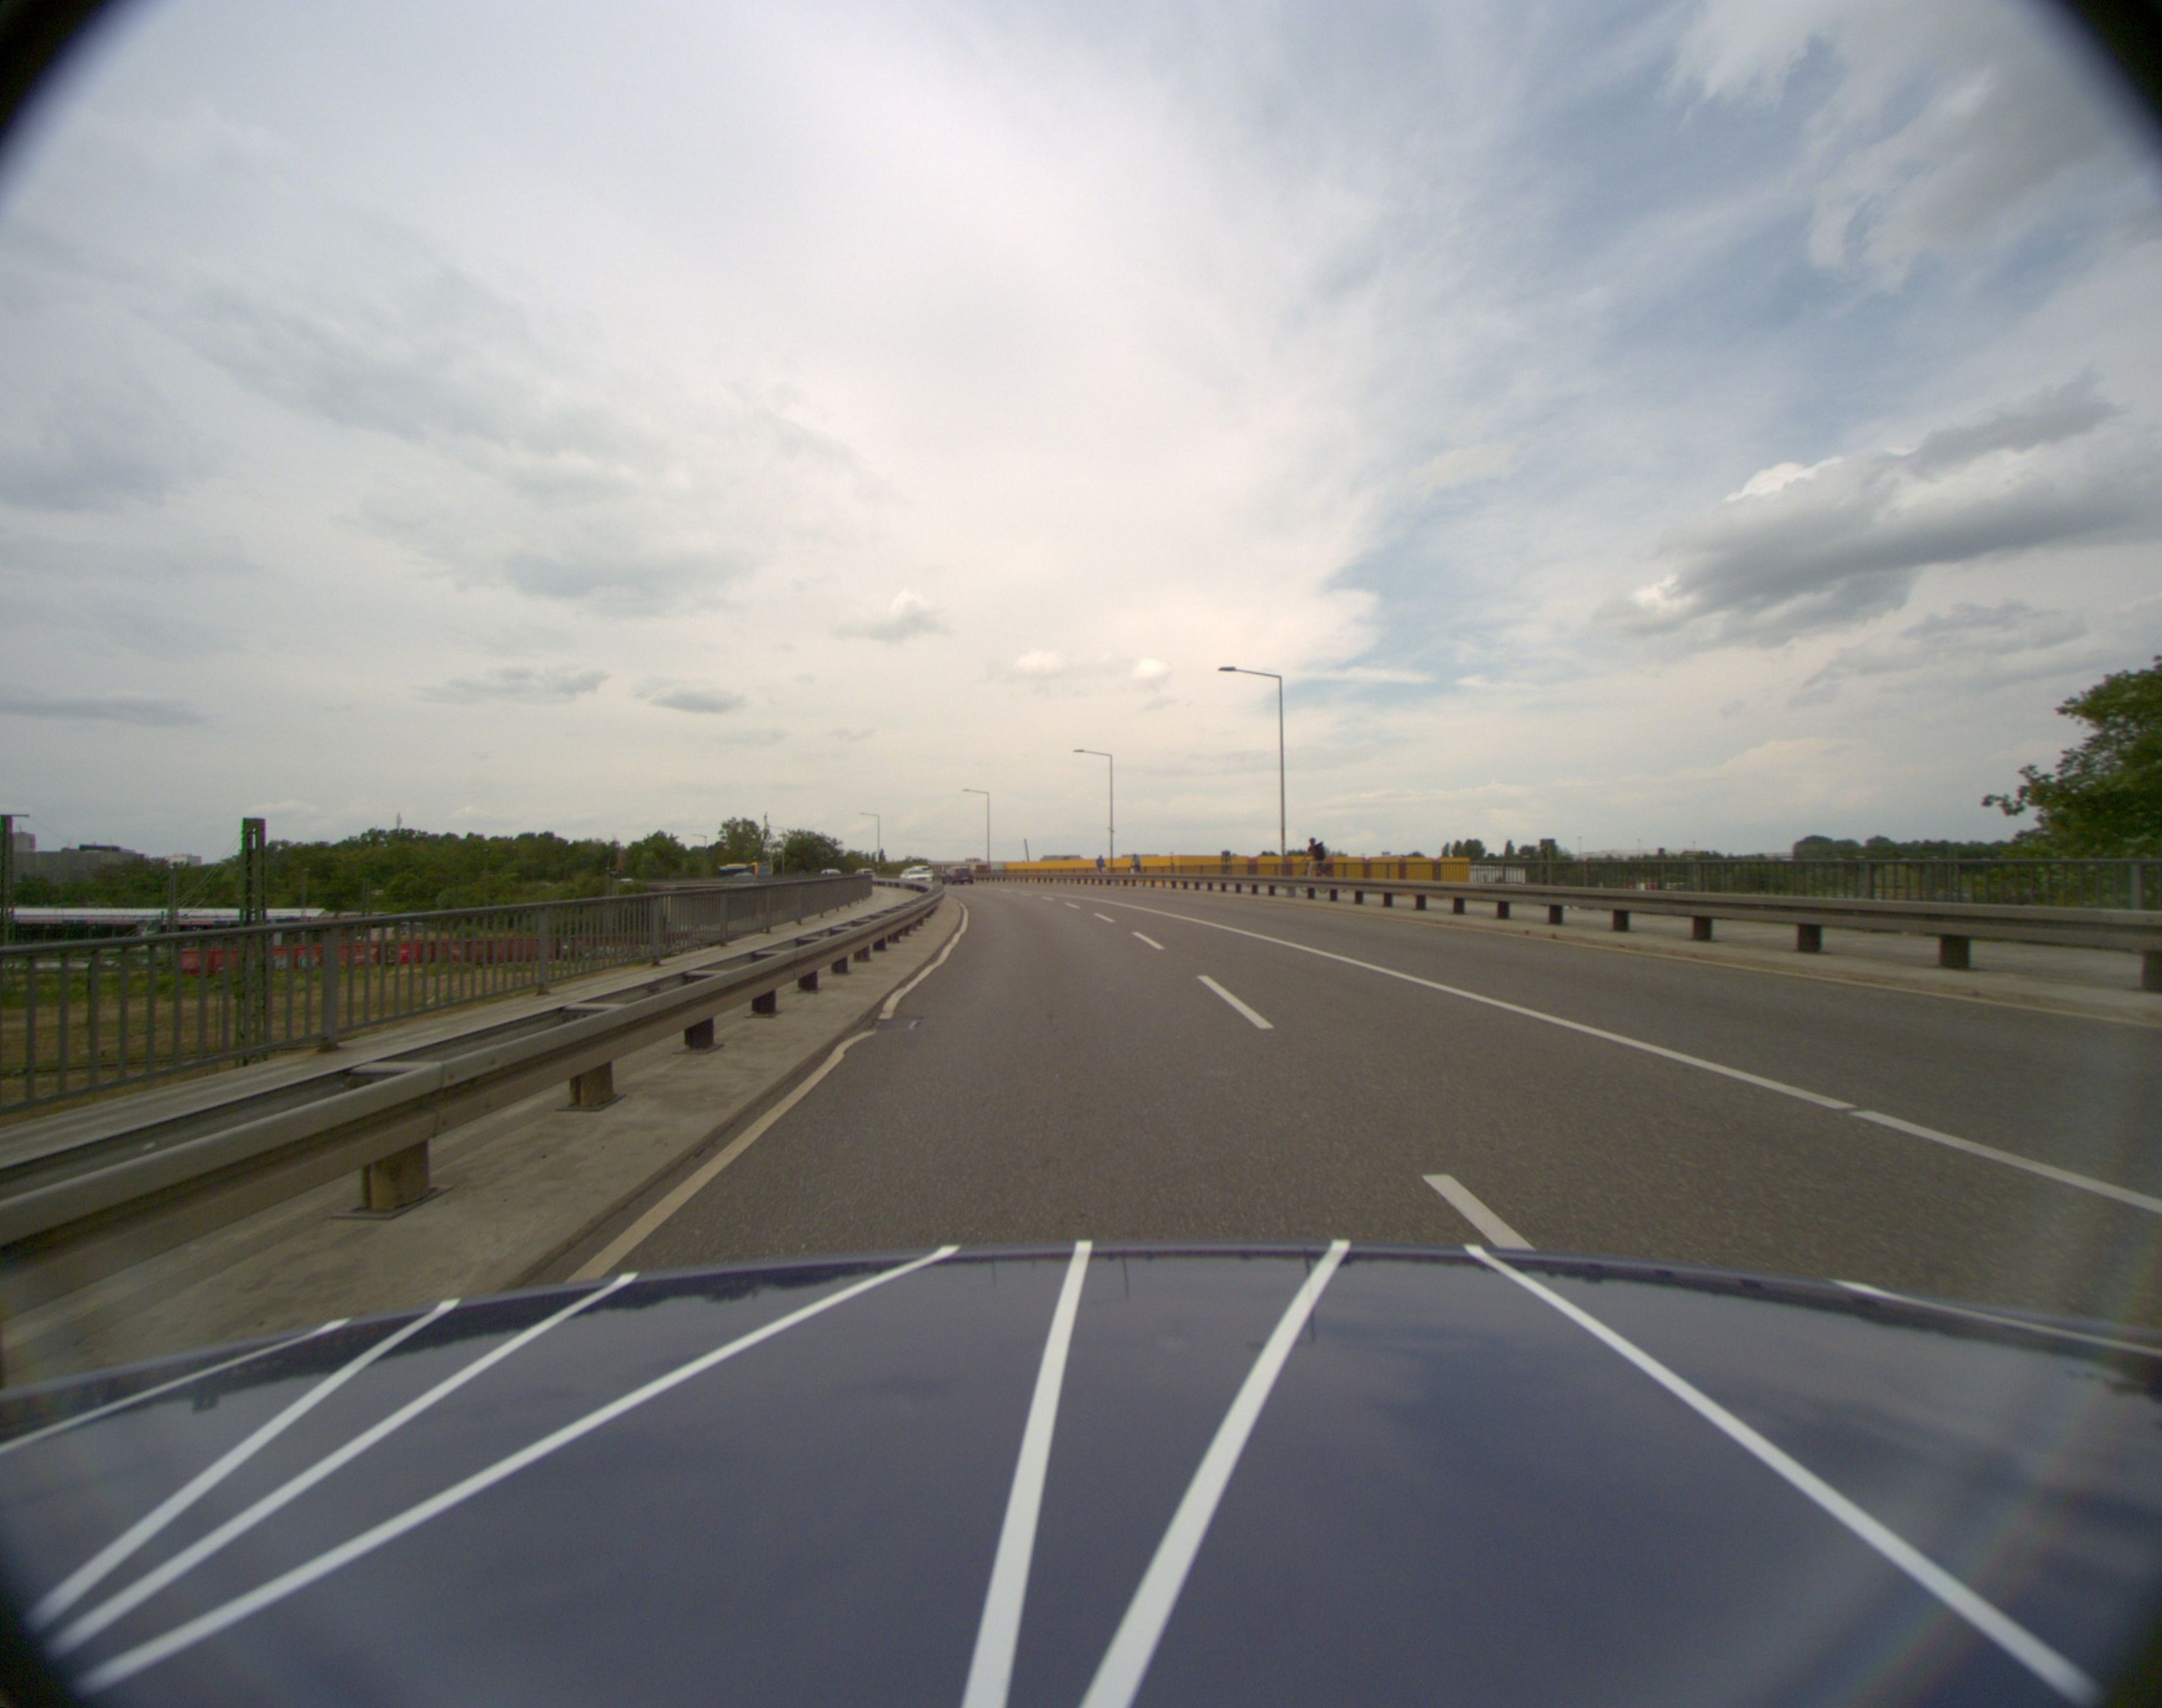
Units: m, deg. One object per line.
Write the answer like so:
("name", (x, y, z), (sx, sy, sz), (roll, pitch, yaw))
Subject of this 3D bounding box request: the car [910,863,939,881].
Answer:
("car", (-15.406, 1.750, 74.649), (1.949, 1.584, 4.765), (-2, 0, -22))

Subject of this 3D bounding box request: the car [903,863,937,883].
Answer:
("car", (-13.101, 1.527, 61.729), (1.941, 1.448, 3.878), (1, 0, -24))

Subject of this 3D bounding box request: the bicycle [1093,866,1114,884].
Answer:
("bicycle", (1.335, 1.276, 45.687), (0.494, 1.039, 1.807), (-2, 0, -22))

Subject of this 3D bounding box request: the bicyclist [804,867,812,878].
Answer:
("bicyclist", (-39.745, 2.694, 110.476), (0.746, 1.436, 0.714), (-3, 0, 32))

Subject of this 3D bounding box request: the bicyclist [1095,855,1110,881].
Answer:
("bicyclist", (1.291, 0.863, 45.850), (0.613, 1.531, 0.756), (-2, 0, -23))

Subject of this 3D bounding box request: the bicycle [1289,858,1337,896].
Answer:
("bicycle", (7.707, 0.746, 25.315), (0.637, 1.167, 1.904), (-2, 0, -13))

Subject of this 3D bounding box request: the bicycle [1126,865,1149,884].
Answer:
("bicycle", (3.277, 1.165, 44.023), (0.648, 1.061, 1.758), (-1, 0, -20))

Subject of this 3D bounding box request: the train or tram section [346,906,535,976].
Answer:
("train or tram section", (-62.897, 8.421, 75.344), (13.669, 5.541, 3.645), (-2, 0, -27))

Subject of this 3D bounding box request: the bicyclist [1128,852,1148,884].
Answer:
("bicyclist", (3.311, 0.801, 44.023), (0.852, 1.798, 0.795), (-2, 0, -21))

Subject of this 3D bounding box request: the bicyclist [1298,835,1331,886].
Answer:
("bicyclist", (7.708, 0.202, 25.094), (0.774, 1.622, 0.648), (-2, 1, -10))

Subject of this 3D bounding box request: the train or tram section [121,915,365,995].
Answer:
("train or tram section", (-75.316, 8.921, 68.990), (14.278, 5.566, 3.651), (-2, 0, -28))

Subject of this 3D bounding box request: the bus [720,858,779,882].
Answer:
("bus", (-49.966, 2.465, 114.246), (12.915, 3.214, 3.048), (-2, 0, 42))

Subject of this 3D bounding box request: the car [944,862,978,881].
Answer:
("car", (-9.952, 1.434, 62.845), (1.816, 1.468, 4.375), (-2, 0, -21))

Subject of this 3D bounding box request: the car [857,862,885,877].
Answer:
("car", (-24.333, 1.778, 87.895), (1.826, 1.610, 4.388), (-2, 0, -32))
